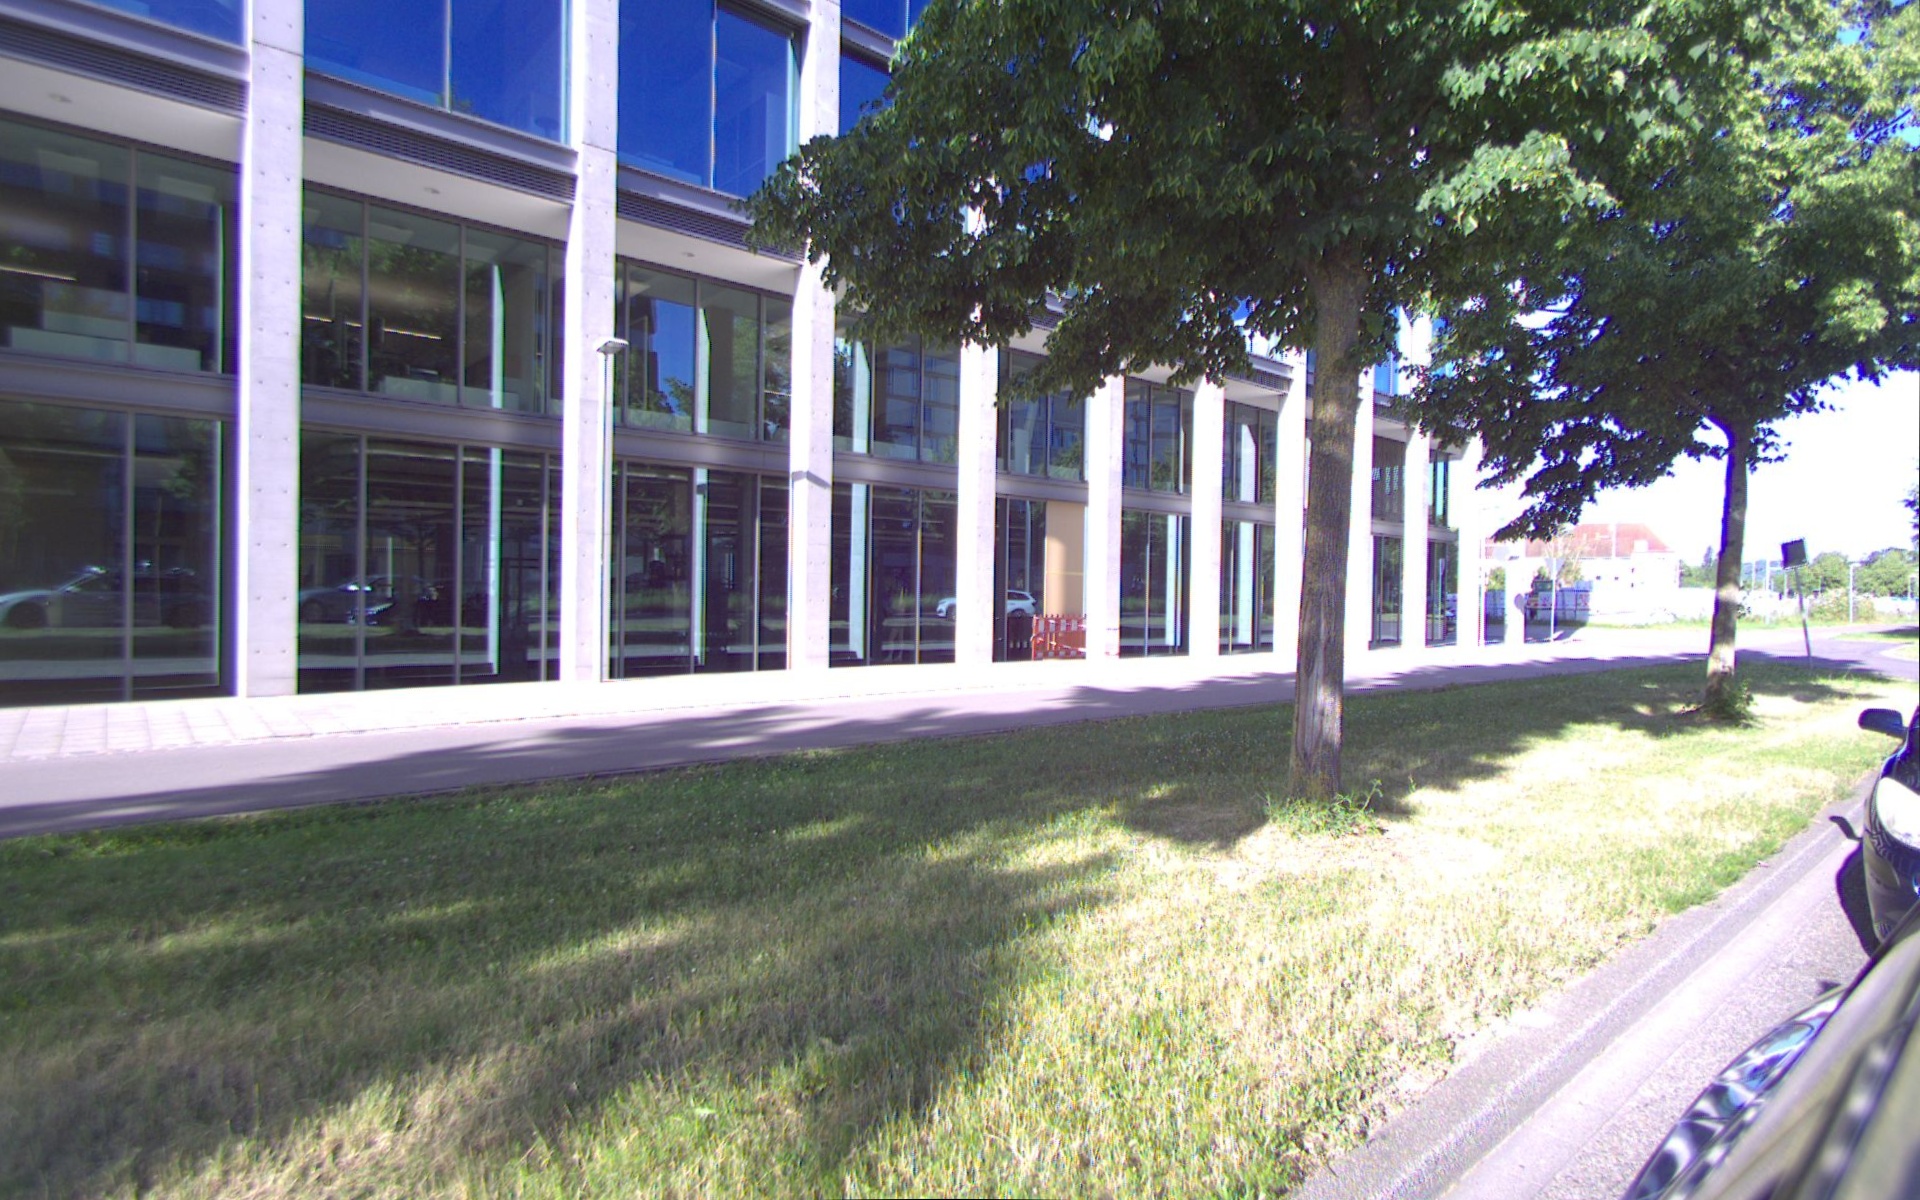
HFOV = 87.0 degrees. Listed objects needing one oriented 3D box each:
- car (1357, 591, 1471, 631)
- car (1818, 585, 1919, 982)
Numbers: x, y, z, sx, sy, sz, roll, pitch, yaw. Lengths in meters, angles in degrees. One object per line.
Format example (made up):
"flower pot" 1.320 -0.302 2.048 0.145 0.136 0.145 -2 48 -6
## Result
"car" 19.423 0.436 43.412 1.963 1.598 3.997 0 1 -38
"car" 5.698 0.704 4.797 4.403 1.500 1.845 0 1 -41
